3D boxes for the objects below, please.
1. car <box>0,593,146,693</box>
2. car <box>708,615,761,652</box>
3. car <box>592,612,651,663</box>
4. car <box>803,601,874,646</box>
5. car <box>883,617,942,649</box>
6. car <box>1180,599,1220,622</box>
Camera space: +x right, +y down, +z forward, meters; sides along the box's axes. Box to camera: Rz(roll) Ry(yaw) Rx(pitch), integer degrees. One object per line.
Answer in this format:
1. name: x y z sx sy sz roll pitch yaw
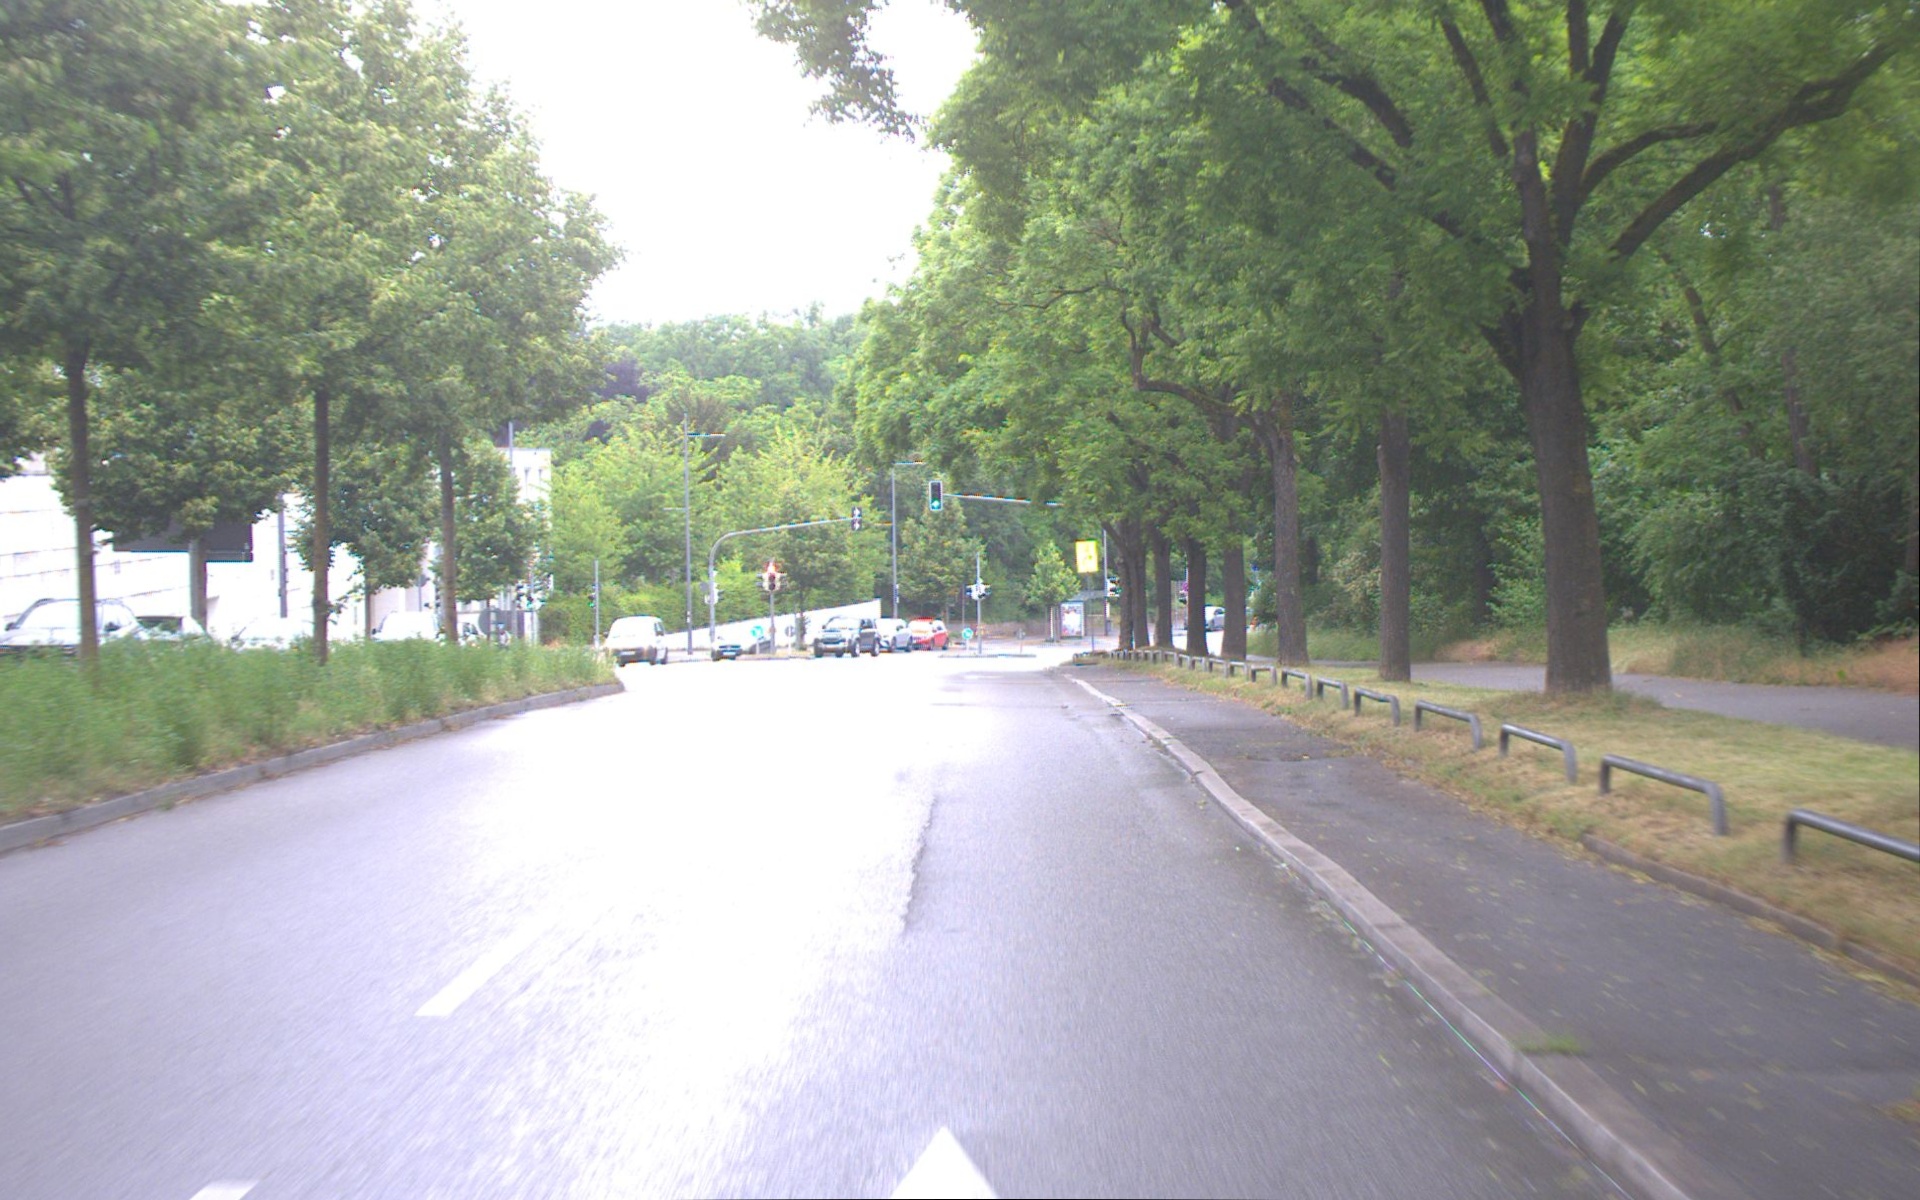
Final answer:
1. car: -15.151 0.738 58.087 1.703 1.615 4.362 0 -1 1
2. car: -9.102 1.359 138.943 1.770 1.376 4.190 -2 -1 0
3. car: -12.049 1.319 122.620 1.710 1.740 4.338 -1 0 -1
4. car: -5.434 1.044 154.830 1.921 1.851 4.503 -5 -1 14
5. car: -2.411 1.687 176.207 1.876 1.569 4.219 2 0 16
6. car: 15.924 0.719 228.125 1.714 1.456 3.746 0 -1 19
